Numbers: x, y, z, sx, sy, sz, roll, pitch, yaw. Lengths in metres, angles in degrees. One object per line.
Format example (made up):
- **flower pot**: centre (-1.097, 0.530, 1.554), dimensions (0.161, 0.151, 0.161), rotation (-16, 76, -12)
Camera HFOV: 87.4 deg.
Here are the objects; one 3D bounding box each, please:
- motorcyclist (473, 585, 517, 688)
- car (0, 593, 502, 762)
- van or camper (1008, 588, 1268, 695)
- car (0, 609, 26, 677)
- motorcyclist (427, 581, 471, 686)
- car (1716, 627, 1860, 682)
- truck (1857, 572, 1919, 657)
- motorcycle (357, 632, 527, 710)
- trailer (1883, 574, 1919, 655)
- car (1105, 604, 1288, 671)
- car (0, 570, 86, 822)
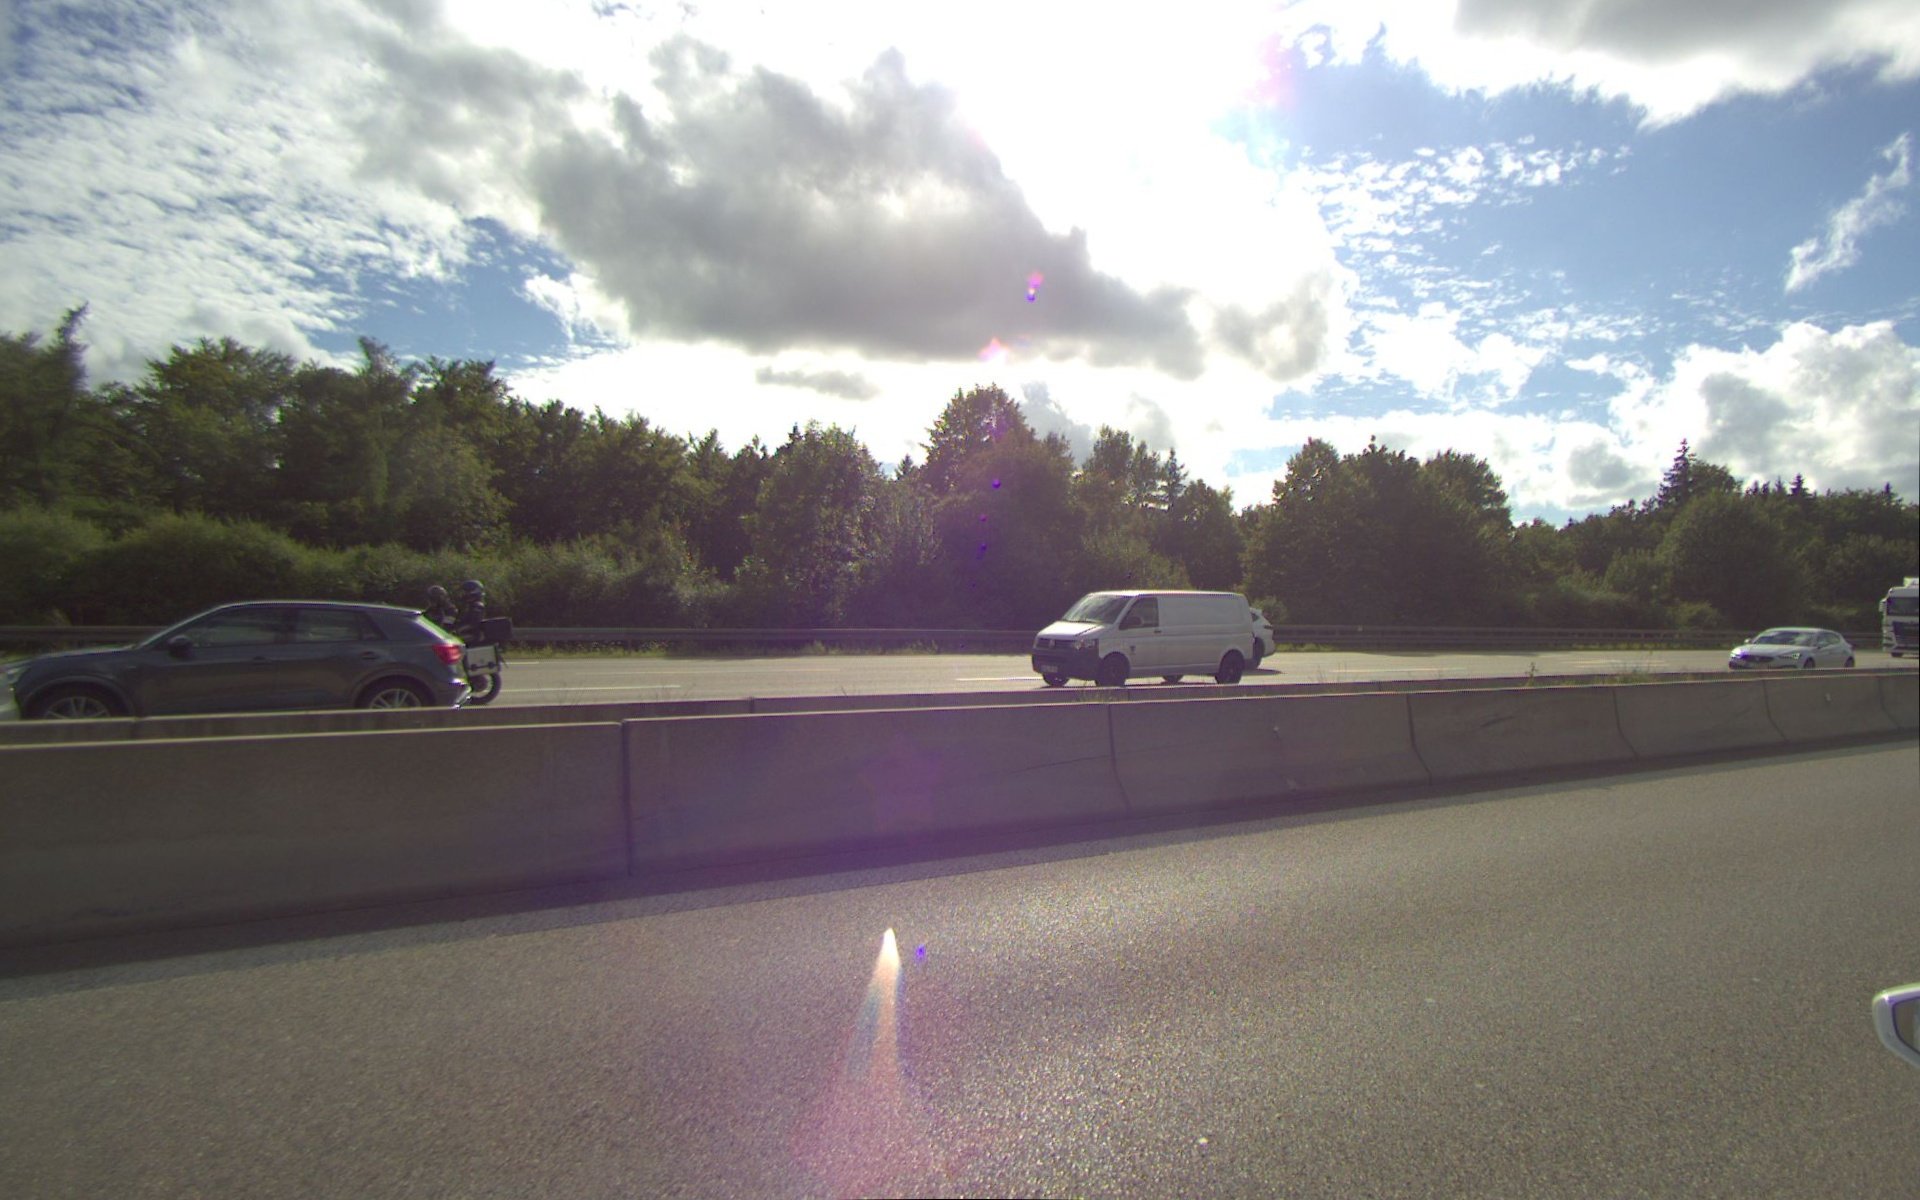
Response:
- **motorcyclist**: centre (-6.932, 0.530, 14.960), dimensions (0.525, 1.495, 0.600), rotation (2, 0, -28)
- **car**: centre (-7.607, 0.725, 10.708), dimensions (4.732, 1.490, 2.160), rotation (1, -1, -32)
- **van or camper**: centre (3.754, 0.815, 20.748), dimensions (5.399, 1.963, 1.982), rotation (1, -1, -33)
- **car**: centre (-18.499, 0.691, 16.132), dimensions (4.723, 1.146, 1.928), rotation (1, -1, -26)
- **motorcyclist**: centre (-7.463, 0.477, 14.671), dimensions (0.525, 1.495, 0.600), rotation (2, 0, -28)
- **car**: centre (23.727, 1.525, 28.746), dimensions (4.637, 1.413, 1.760), rotation (1, -1, -31)
- **truck**: centre (49.138, 0.773, 51.153), dimensions (6.148, 4.161, 3.304), rotation (1, 0, -29)
- **motorcycle**: centre (-7.515, 1.014, 14.651), dimensions (2.148, 1.053, 0.607), rotation (1, 0, -29)
- **trailer**: centre (55.241, 0.900, 54.565), dimensions (13.982, 4.161, 3.303), rotation (1, 0, -29)
- **car**: centre (6.566, 1.018, 27.847), dimensions (4.727, 1.706, 2.162), rotation (1, -1, -29)
- **car**: centre (-8.379, 0.550, 5.886), dimensions (4.608, 1.572, 1.854), rotation (1, -1, -31)
